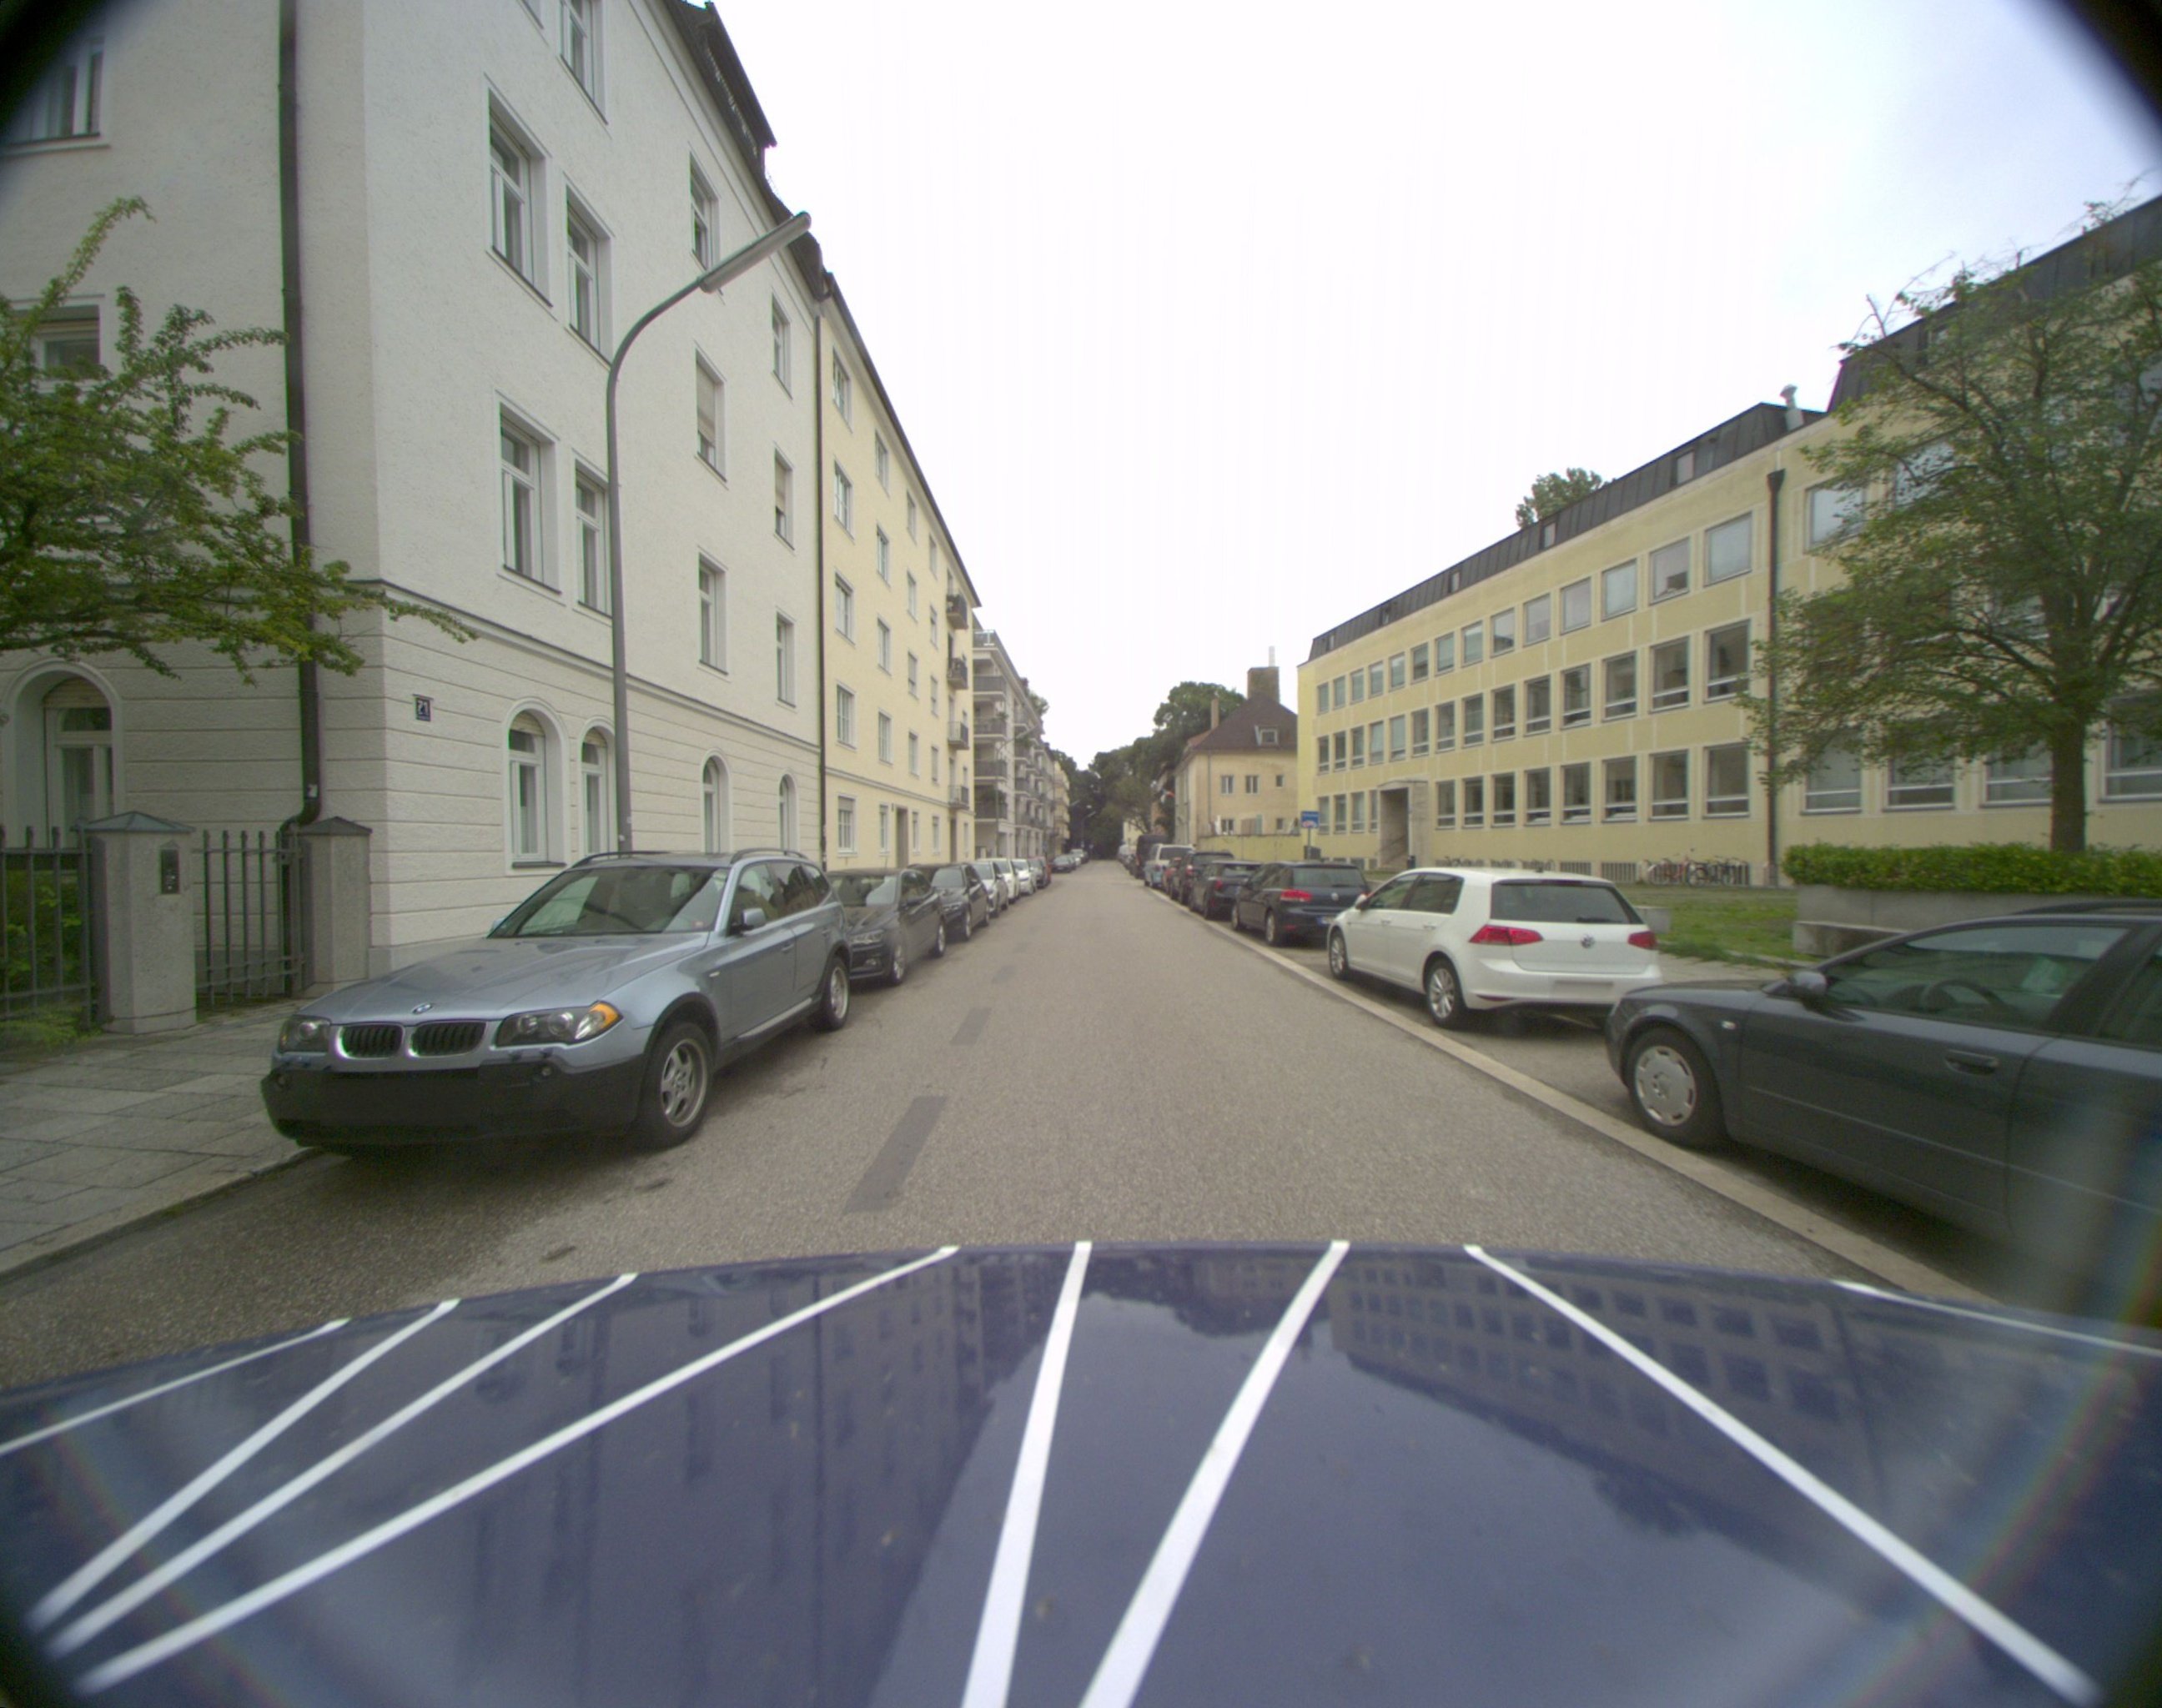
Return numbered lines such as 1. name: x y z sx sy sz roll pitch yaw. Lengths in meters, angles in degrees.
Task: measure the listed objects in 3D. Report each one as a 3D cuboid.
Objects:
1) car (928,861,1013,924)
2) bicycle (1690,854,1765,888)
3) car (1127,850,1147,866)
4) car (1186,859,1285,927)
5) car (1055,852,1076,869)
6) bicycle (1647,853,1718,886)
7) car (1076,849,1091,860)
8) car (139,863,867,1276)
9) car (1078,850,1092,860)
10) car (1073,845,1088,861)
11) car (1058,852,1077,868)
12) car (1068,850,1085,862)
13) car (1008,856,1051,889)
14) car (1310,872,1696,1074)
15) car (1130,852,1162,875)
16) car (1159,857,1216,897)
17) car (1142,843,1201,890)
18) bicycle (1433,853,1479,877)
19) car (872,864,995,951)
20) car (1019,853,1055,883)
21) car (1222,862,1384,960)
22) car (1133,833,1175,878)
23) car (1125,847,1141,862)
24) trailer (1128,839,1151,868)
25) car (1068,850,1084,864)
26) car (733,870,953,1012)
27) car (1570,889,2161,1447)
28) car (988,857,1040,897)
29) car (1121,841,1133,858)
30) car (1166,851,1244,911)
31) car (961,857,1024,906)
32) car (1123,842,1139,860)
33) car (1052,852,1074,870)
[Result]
1. car: -2.879 0.959 20.574 1.683 1.419 4.166 -1 1 0
2. bicycle: 19.653 0.506 23.112 1.953 1.008 0.625 -1 1 -9
3. car: 5.479 0.366 74.647 1.767 1.505 3.842 0 1 2
4. car: 3.734 0.893 19.030 1.684 1.445 3.869 1 0 0
5. car: -1.381 0.551 69.662 1.766 1.449 3.418 -1 1 1
6. bicycle: 19.406 0.501 24.526 1.953 1.008 0.625 -1 1 -9
7. car: 0.336 0.107 107.054 1.871 1.455 4.268 -1 1 3
8. car: -3.051 0.939 5.424 1.726 1.625 4.457 -1 1 1
9. car: 0.663 0.170 117.200 1.871 1.455 4.268 -1 1 3
10. car: -0.042 -0.147 101.423 1.871 2.002 4.268 -1 1 3
11. car: -1.292 0.595 74.325 1.766 1.449 3.747 -1 1 1
12. car: -0.574 0.204 92.769 1.765 1.449 3.748 -1 1 4
13. car: -2.397 0.833 36.066 1.683 1.402 4.421 -1 1 0
14. car: 3.928 0.983 7.989 1.661 1.445 4.072 1 0 -2
15. car: 4.494 0.638 52.672 1.706 1.485 3.488 -1 1 -3
16. car: 4.089 0.833 29.741 1.748 1.379 3.918 -1 0 1
17. car: 3.999 0.508 34.367 1.933 1.967 5.021 0 1 -1
18. bicycle: 16.816 0.487 34.075 1.954 1.008 0.580 -2 1 -16
19. car: -2.840 0.971 15.567 1.683 1.419 4.390 -1 1 0
20. car: -2.367 0.726 41.470 1.683 1.489 3.823 -1 1 0
21. car: 3.860 0.923 13.924 1.661 1.445 3.973 1 0 -2
22. car: 4.457 0.083 47.358 2.302 2.630 5.654 1 1 3
23. car: 6.232 0.066 91.743 1.817 1.724 3.649 -1 1 2
24. trailer: 5.374 -0.045 69.184 1.817 2.521 3.390 3 1 6
25. car: -0.576 0.307 86.271 1.766 1.449 3.747 -1 1 1
26. car: -2.995 1.014 10.503 1.683 1.419 4.086 -1 1 1
27. car: 3.959 0.972 2.568 1.759 1.445 4.395 1 0 0
28. car: -2.627 0.858 30.654 1.683 1.402 4.442 -1 1 0
29. car: 7.141 -0.660 118.391 1.880 2.539 4.370 -1 1 3
30. car: 3.869 0.781 24.394 1.748 1.656 4.448 3 1 0
31. car: -2.932 0.879 26.018 1.683 1.473 4.166 -1 1 0
32. car: 6.672 -0.427 101.928 2.104 2.418 4.550 -1 1 4
33. car: -1.516 0.581 64.752 1.784 1.386 4.245 -1 1 -2
